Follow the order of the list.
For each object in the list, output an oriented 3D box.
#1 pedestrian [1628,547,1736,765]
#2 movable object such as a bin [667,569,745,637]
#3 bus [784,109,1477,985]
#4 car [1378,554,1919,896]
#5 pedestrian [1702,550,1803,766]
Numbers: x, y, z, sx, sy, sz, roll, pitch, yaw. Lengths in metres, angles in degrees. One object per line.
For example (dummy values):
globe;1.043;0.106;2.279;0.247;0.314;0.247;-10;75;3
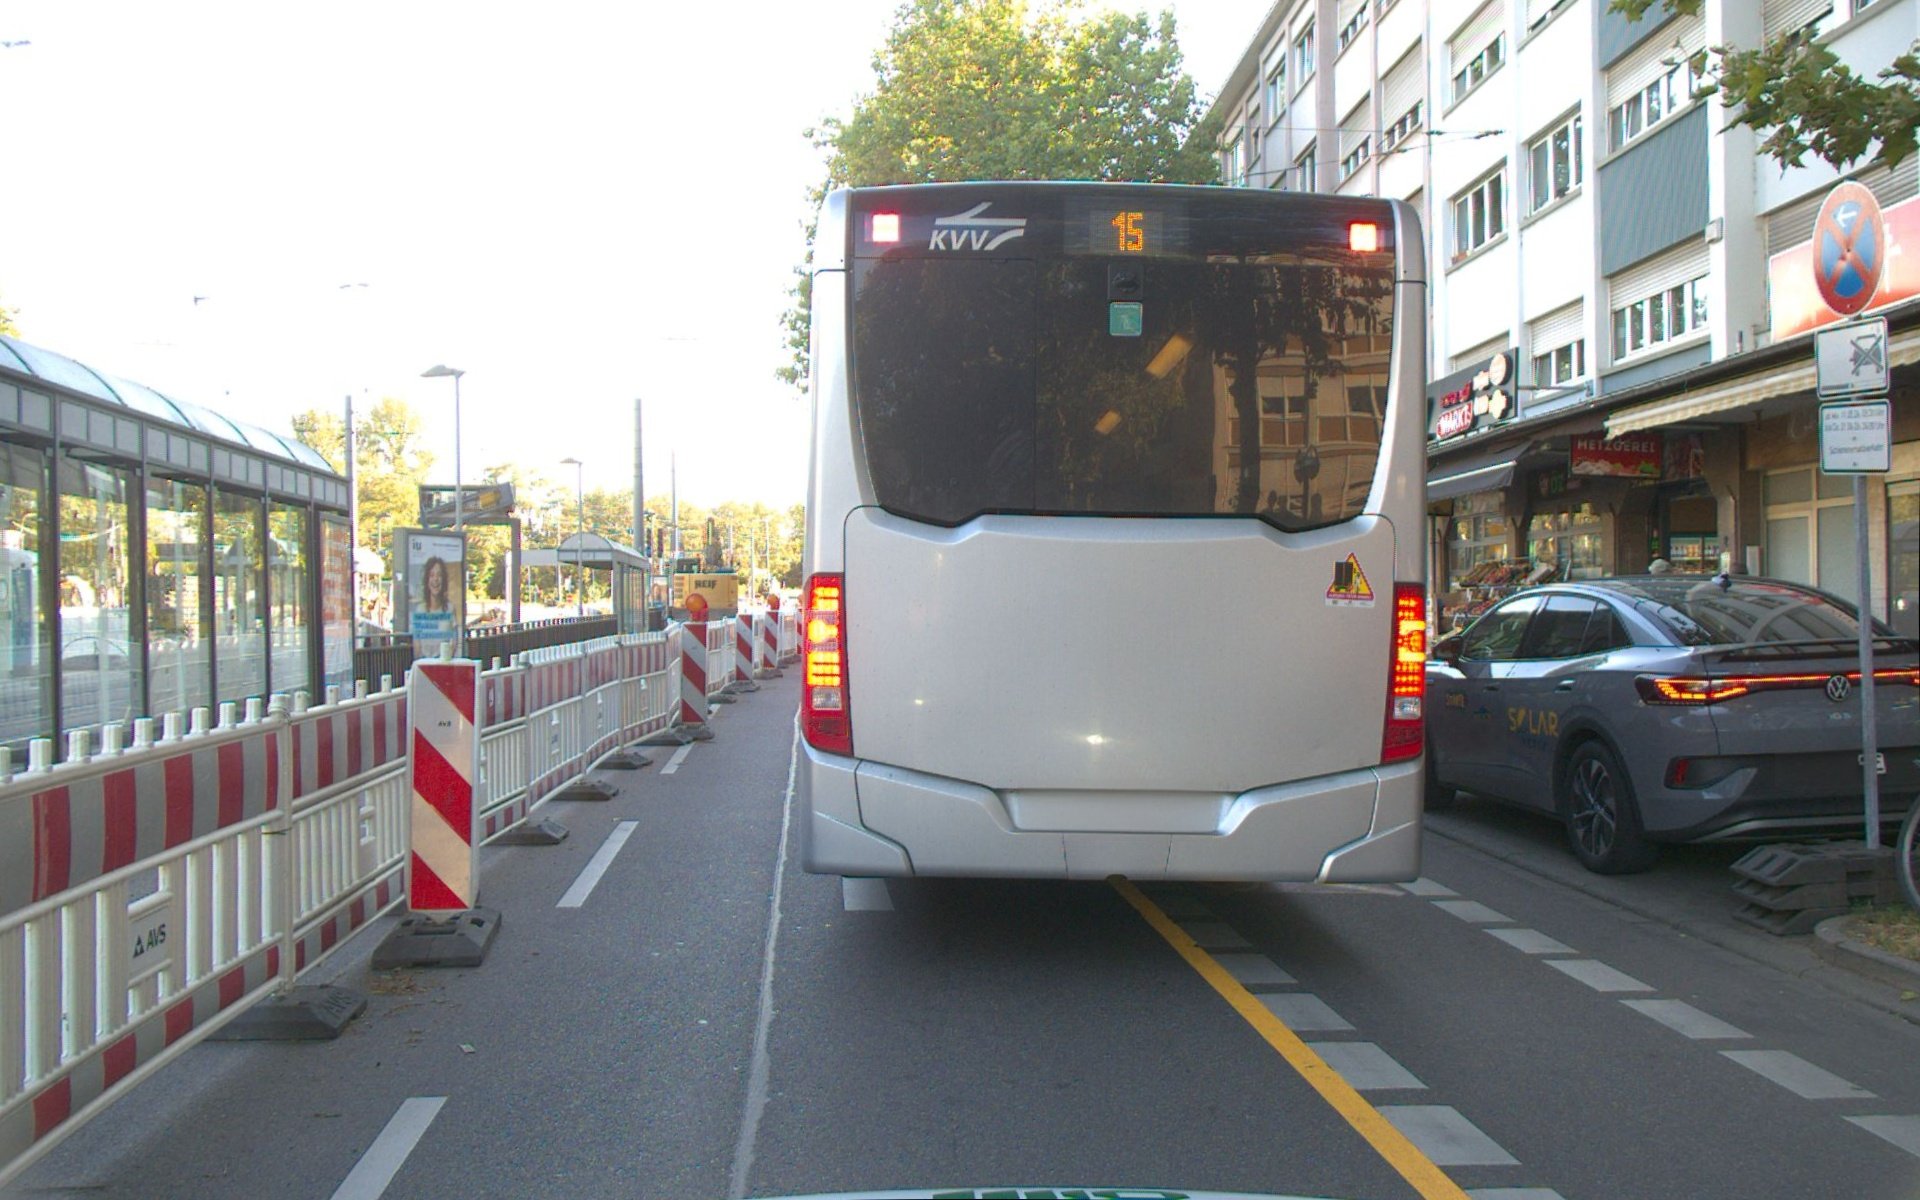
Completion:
pedestrian;6.934;0.526;15.910;0.677;2.049;0.695;0;-1;-6
movable object such as a bin;-9.711;0.115;63.520;2.752;2.505;3.995;0;0;-6
bus;0.551;-0.168;11.264;2.555;3.225;10.288;0;0;-1
car;4.215;0.607;10.355;1.706;1.625;4.294;-3;0;-5
pedestrian;7.692;0.550;16.072;0.600;2.049;0.696;0;-1;-4
